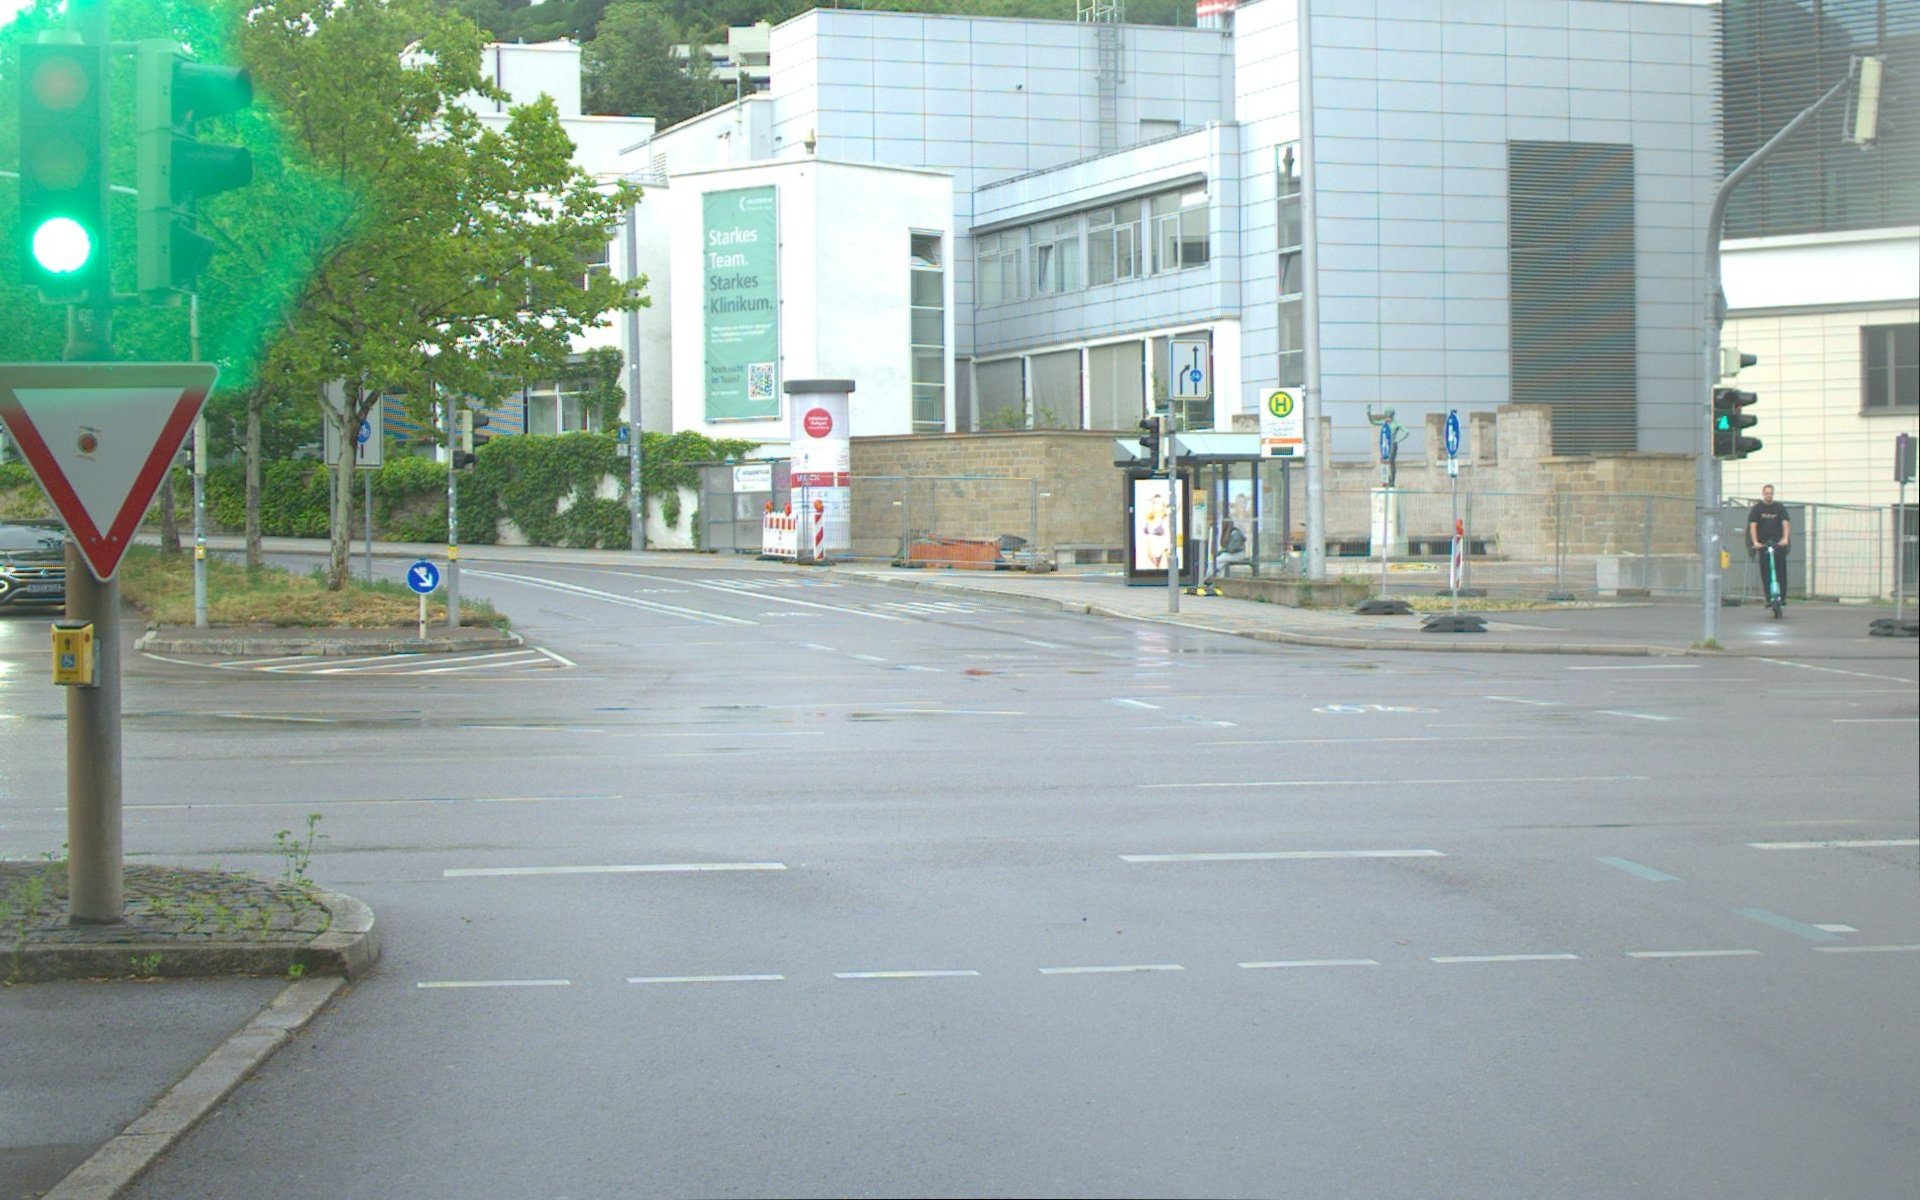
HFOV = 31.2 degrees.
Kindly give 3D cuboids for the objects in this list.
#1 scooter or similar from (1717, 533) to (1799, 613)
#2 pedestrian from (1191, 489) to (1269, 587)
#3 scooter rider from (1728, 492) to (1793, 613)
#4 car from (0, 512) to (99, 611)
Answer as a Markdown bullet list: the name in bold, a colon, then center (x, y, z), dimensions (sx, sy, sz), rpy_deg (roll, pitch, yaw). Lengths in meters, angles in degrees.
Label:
- **scooter or similar**: center (12.605, -0.427, 54.312), dimensions (0.591, 1.234, 1.314), rpy_deg (1, 0, -22)
- **pedestrian**: center (4.846, -1.108, 61.777), dimensions (1.257, 1.713, 1.016), rpy_deg (1, 0, -2)
- **scooter rider**: center (12.645, -0.747, 54.308), dimensions (0.723, 1.877, 0.632), rpy_deg (1, 0, -20)
- **car**: center (-15.665, -0.676, 57.715), dimensions (1.788, 1.579, 4.001), rpy_deg (-1, 2, -22)
